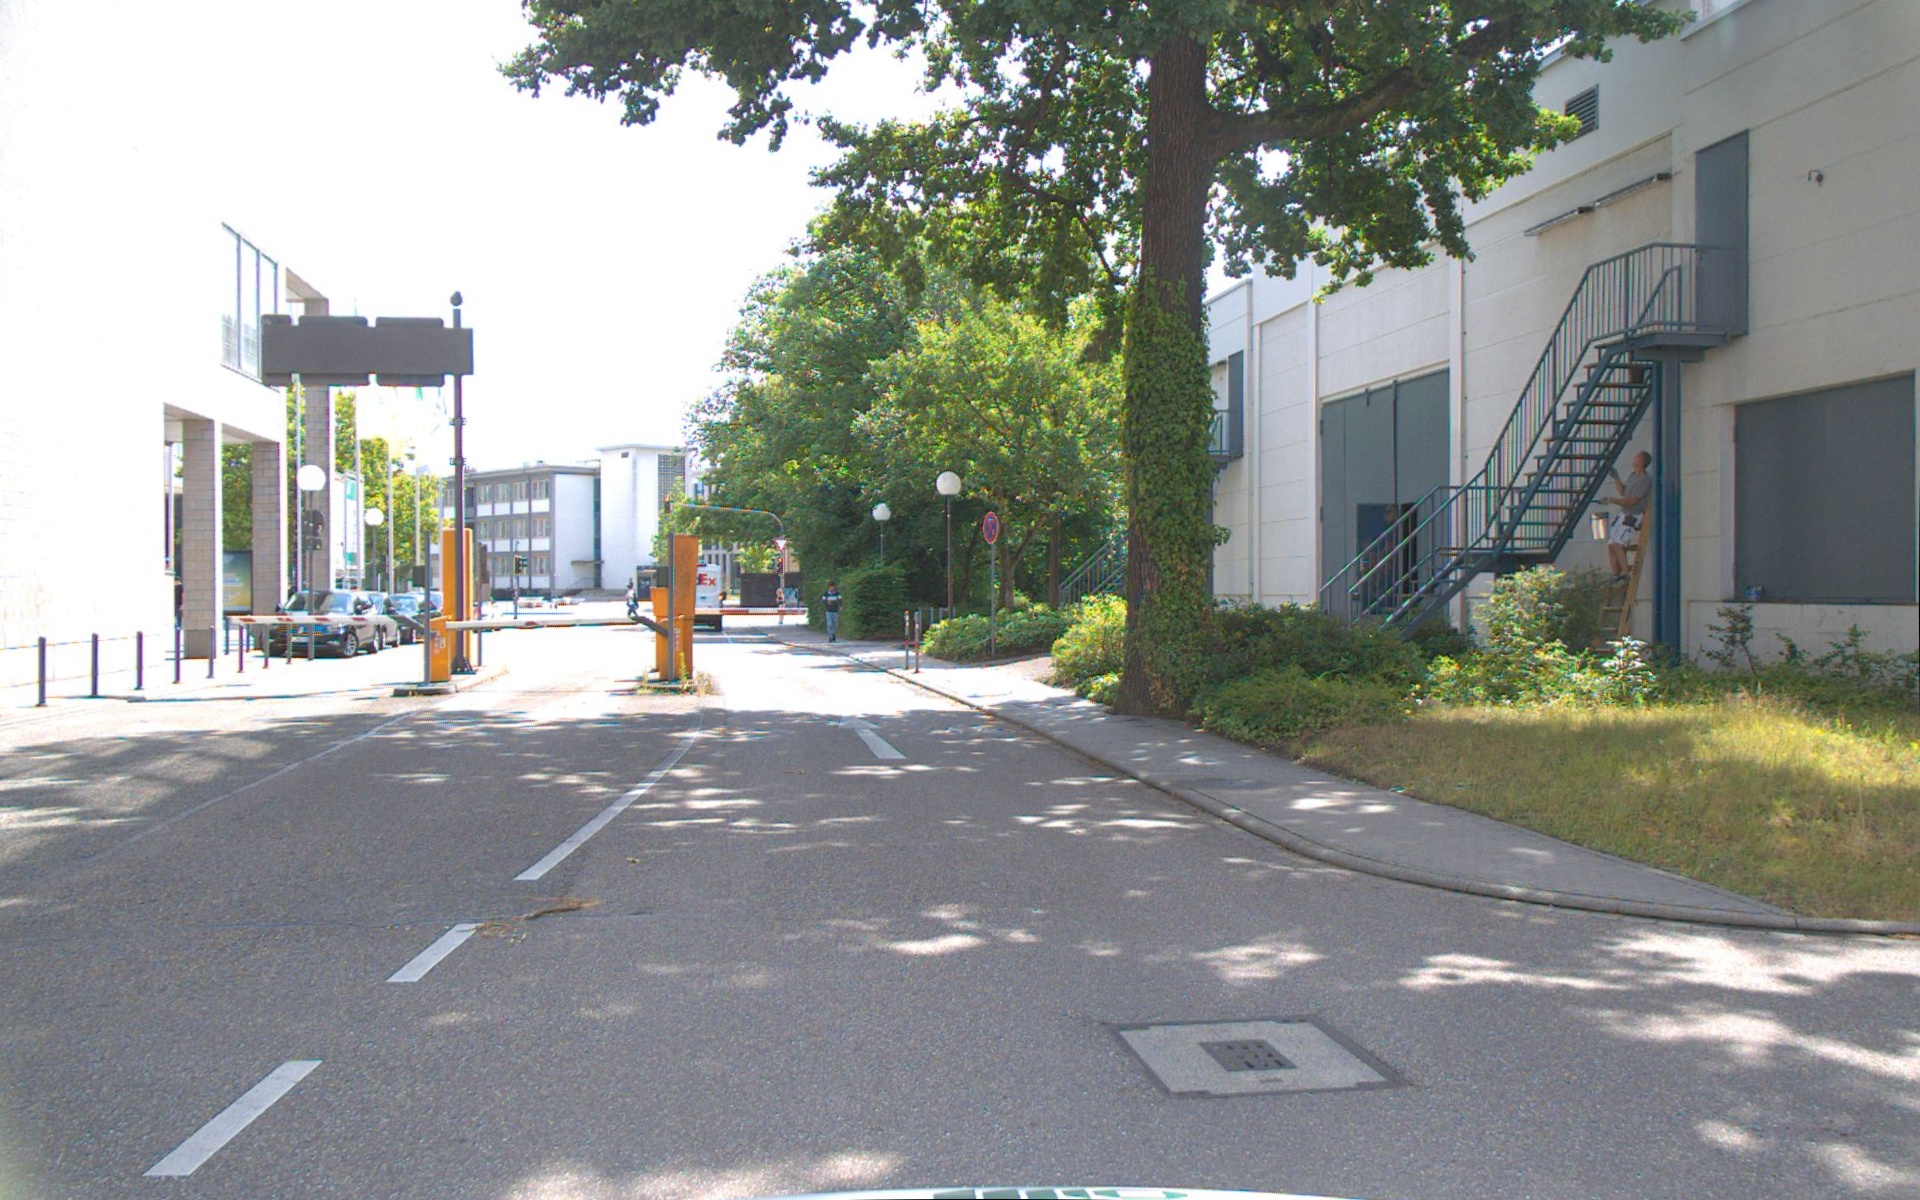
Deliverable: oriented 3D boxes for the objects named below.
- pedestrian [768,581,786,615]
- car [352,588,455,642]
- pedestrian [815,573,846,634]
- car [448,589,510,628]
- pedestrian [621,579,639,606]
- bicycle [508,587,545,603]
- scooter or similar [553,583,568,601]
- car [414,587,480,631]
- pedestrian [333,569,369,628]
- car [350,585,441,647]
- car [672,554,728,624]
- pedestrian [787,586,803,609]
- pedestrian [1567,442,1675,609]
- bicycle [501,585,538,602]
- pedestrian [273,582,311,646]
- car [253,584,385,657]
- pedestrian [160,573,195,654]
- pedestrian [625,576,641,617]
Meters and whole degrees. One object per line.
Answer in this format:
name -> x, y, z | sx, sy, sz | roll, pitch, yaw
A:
pedestrian -> -8.670, -0.113, 78.349 | 0.719, 1.603, 0.773 | 1, 0, -14
car -> -15.863, 0.385, 47.381 | 1.824, 1.402, 5.008 | 2, 0, -8
pedestrian -> -3.676, 0.099, 46.903 | 0.726, 1.704, 1.252 | 0, 0, -13
car -> -18.712, 0.300, 64.486 | 1.645, 1.419, 4.653 | 2, 0, -9
pedestrian -> -25.931, -0.584, 129.842 | 1.116, 2.049, 1.157 | 0, 0, 5
bicycle -> -36.737, -0.439, 140.244 | 1.098, 1.387, 2.946 | 0, 0, 43
scooter or similar -> -26.386, -0.546, 109.251 | 0.706, 1.199, 2.709 | 0, 0, -20
car -> -18.401, 0.293, 59.414 | 1.645, 1.493, 3.903 | 2, 0, -9
pedestrian -> -21.604, -0.067, 58.682 | 0.884, 2.063, 0.798 | 0, 0, 20
car -> -14.651, 0.393, 43.068 | 1.609, 1.493, 3.698 | 2, 0, -10
car -> -10.370, -0.460, 65.652 | 2.057, 2.611, 5.589 | -1, 1, -10
pedestrian -> -11.041, -0.164, 110.589 | 0.816, 1.550, 0.807 | 0, 0, -29
pedestrian -> 8.334, -0.926, 20.888 | 0.909, 2.049, 0.948 | -1, 0, -6
bicycle -> -37.631, -0.555, 141.202 | 1.098, 1.387, 2.946 | 0, 0, 43
pedestrian -> -21.722, 0.456, 53.817 | 0.967, 2.049, 1.161 | 0, 0, -14
car -> -14.398, 0.416, 37.413 | 1.825, 1.493, 4.708 | 2, 0, -9
pedestrian -> -24.033, 0.400, 50.805 | 0.742, 2.464, 0.738 | 0, 0, -1
pedestrian -> -15.364, -0.172, 77.727 | 0.706, 1.891, 0.769 | 0, 0, -8
